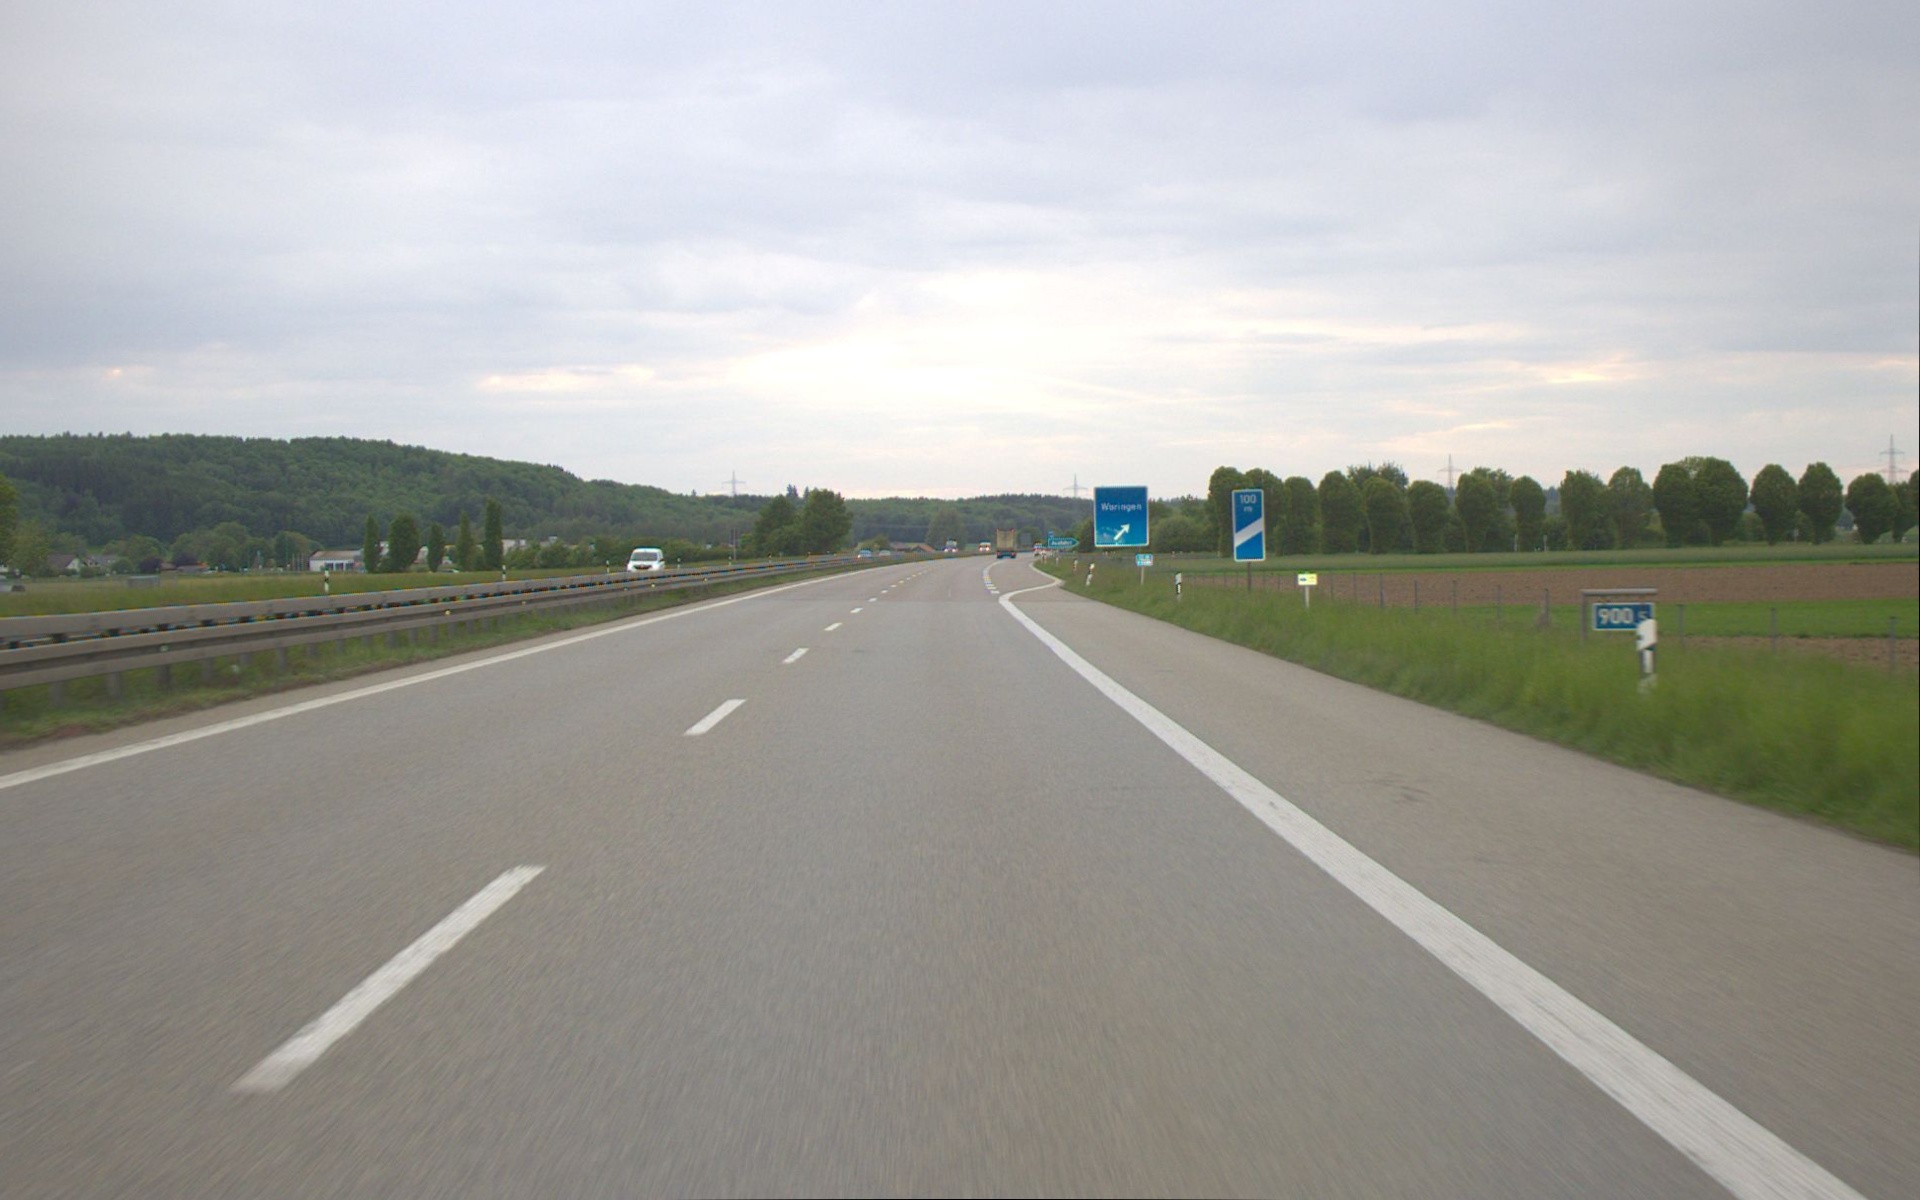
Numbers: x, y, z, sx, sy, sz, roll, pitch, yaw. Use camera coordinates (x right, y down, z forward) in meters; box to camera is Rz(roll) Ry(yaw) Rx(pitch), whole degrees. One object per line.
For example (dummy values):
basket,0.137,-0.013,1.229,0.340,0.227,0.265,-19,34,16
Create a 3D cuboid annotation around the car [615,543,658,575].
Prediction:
car,-18.149,-2.321,193.228,1.993,1.759,4.952,1,1,-1
